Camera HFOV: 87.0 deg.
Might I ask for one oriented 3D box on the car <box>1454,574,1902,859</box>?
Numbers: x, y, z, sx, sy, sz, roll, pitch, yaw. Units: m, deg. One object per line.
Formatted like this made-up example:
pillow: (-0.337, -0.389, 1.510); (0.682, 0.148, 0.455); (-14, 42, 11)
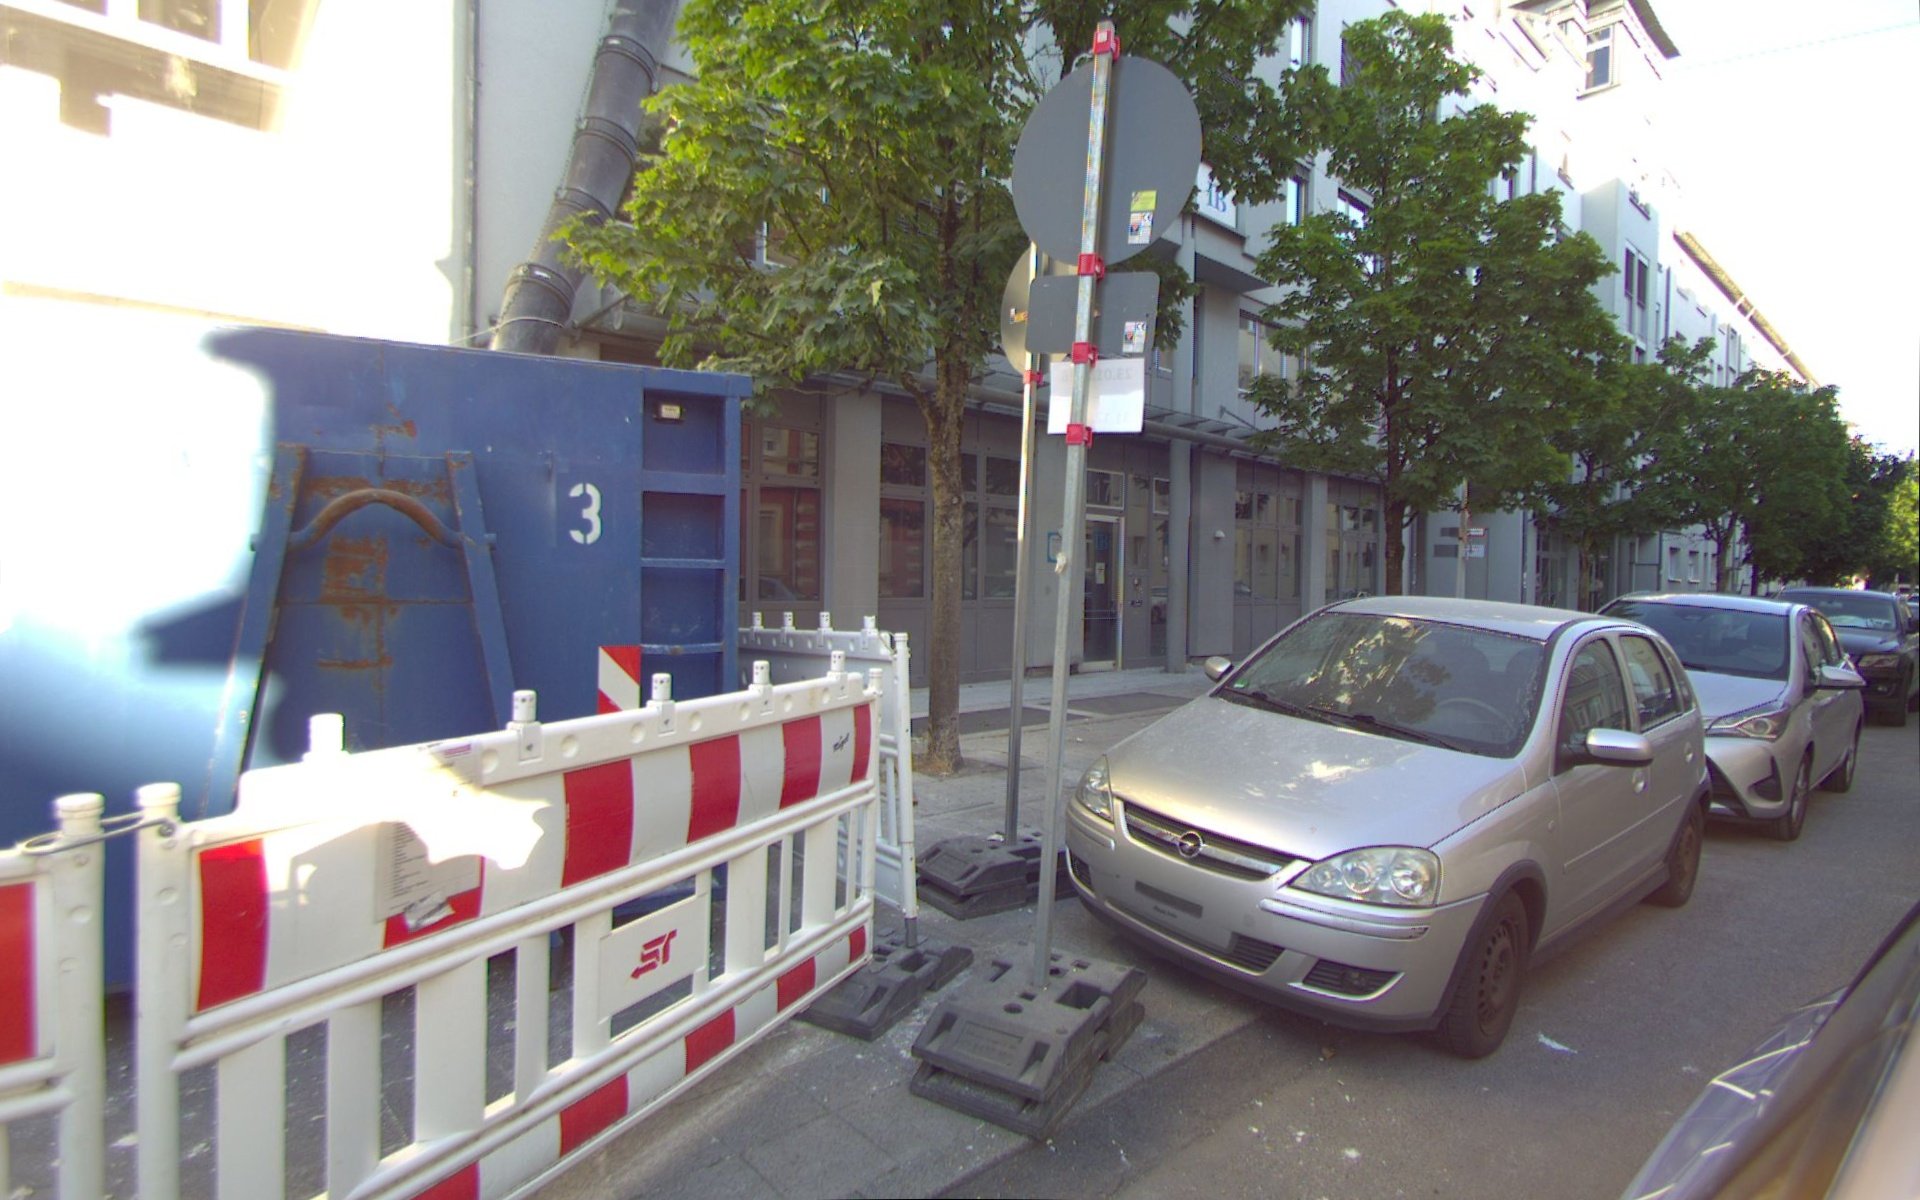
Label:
car: (5.599, 0.630, 7.717); (3.930, 1.605, 1.911); (0, 1, -41)

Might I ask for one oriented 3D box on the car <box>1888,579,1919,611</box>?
car: (61.156, -0.327, 65.101); (3.935, 2.039, 1.995); (0, 1, -45)

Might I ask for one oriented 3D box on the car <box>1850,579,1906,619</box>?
car: (48.687, -0.096, 53.655); (3.935, 2.039, 1.995); (0, 1, -45)

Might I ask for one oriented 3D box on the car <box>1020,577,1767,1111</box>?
car: (2.276, 0.647, 4.723); (3.995, 1.465, 1.637); (0, 1, -41)

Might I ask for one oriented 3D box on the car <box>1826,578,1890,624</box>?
car: (41.912, 0.005, 47.221); (3.935, 2.039, 1.995); (0, 1, -45)

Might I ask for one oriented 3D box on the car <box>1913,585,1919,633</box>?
car: (35.258, 0.315, 36.021); (1.851, 1.680, 3.936); (1, 1, 44)

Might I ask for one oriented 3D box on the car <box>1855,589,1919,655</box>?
car: (23.446, 0.505, 24.920); (3.935, 1.507, 1.852); (0, 1, -45)

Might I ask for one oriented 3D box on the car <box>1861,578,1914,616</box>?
car: (51.933, -0.192, 56.648); (3.935, 2.039, 1.995); (0, 1, -45)

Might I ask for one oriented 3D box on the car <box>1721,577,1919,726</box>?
car: (12.002, 0.564, 13.761); (4.315, 1.710, 1.861); (0, 1, -42)
